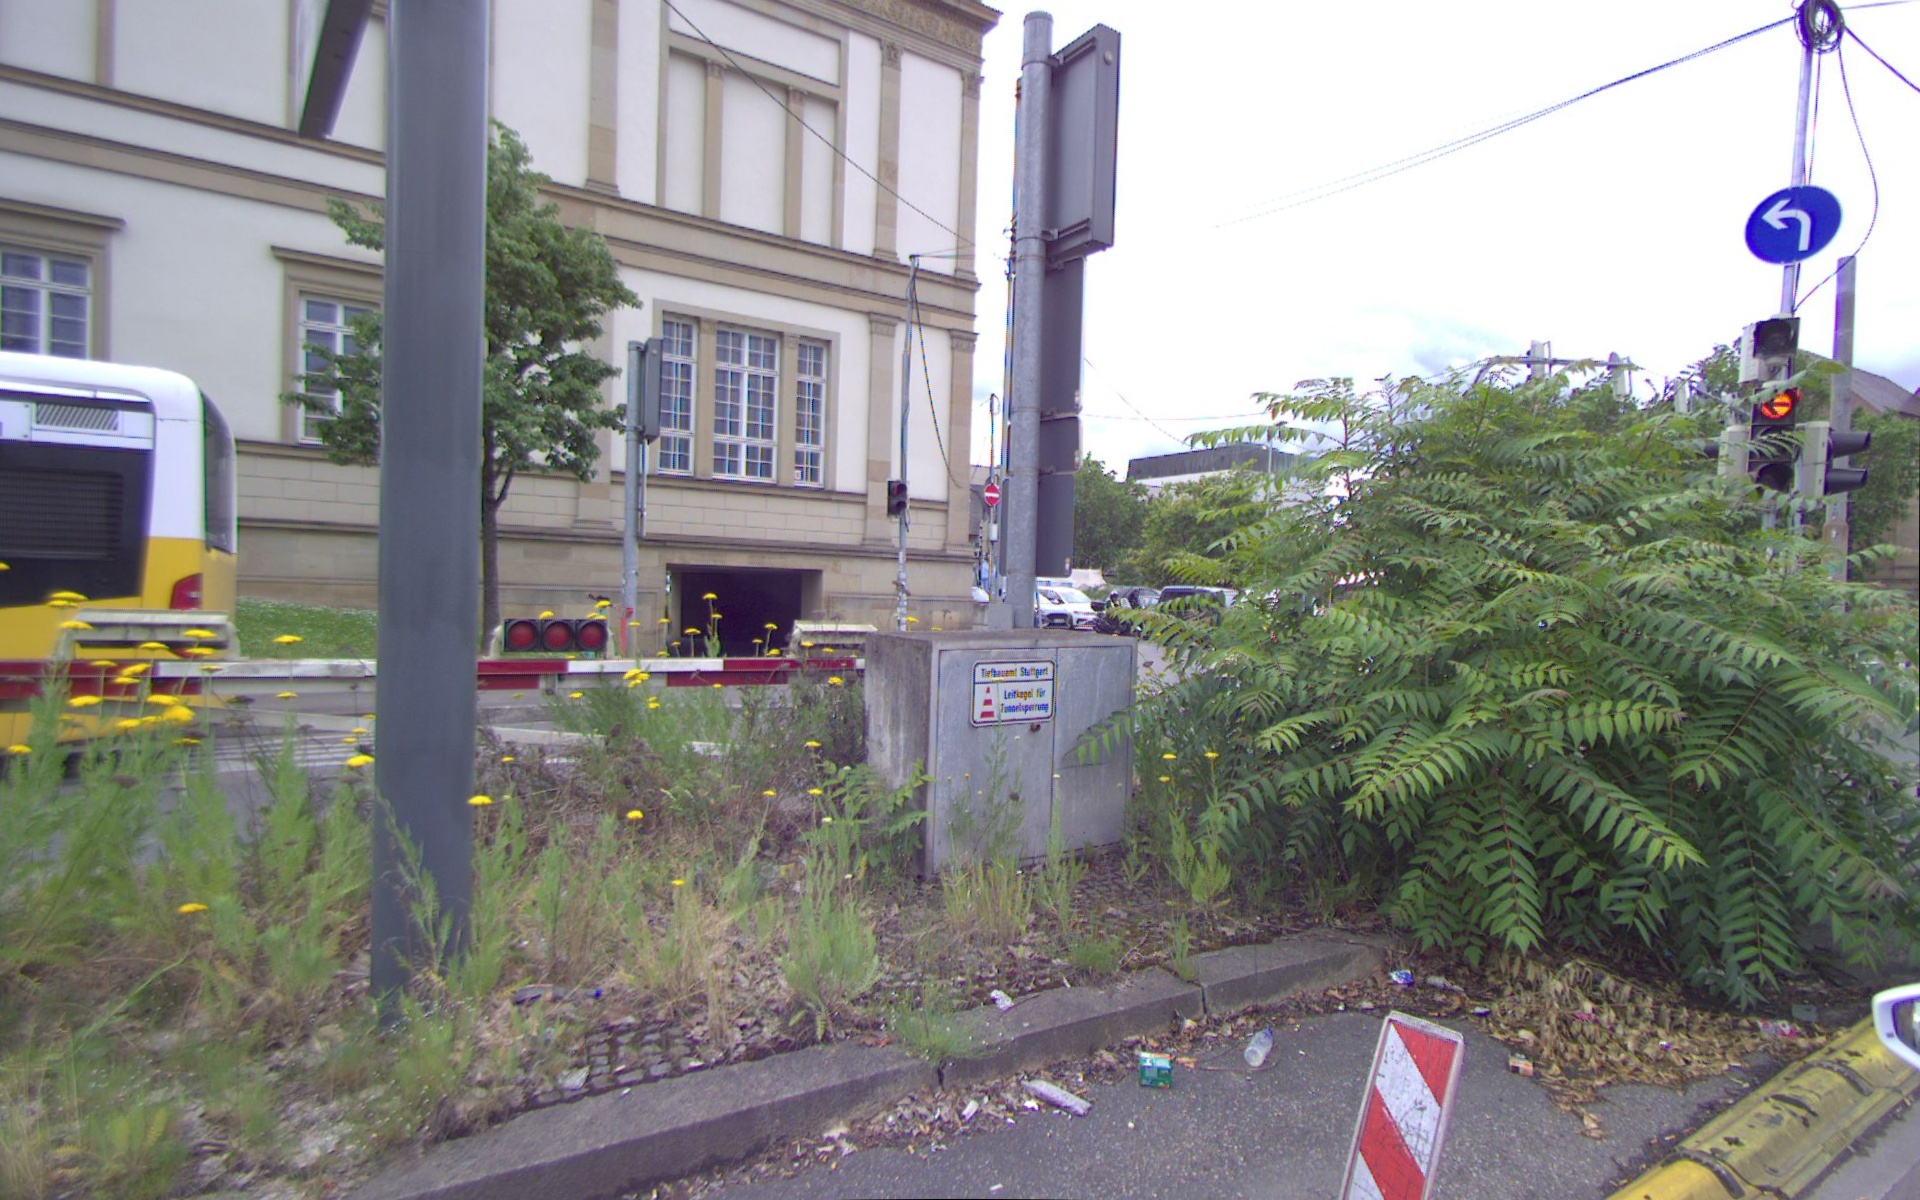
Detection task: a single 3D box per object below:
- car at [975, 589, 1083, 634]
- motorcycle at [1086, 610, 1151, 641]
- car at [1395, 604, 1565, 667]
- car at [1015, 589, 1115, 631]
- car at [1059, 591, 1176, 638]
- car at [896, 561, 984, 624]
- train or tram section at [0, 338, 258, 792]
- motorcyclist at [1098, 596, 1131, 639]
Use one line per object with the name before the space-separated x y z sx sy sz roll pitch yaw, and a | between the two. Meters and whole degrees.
car | 2.529 0.412 37.715 1.978 1.568 4.083 2 0 -32
motorcycle | 5.116 0.806 32.585 0.690 0.953 2.335 2 -1 -32
car | 16.373 1.055 31.763 4.438 1.783 1.990 1 0 41
car | 4.188 0.367 40.779 1.977 1.568 4.085 2 0 -31
car | 5.629 0.495 36.341 1.978 1.568 4.084 2 0 -32
car | -0.937 -0.331 43.892 1.978 2.585 4.083 2 0 -32
train or tram section | -10.170 -0.284 6.272 9.229 3.112 2.680 1 -1 -31
motorcyclist | 5.035 0.568 32.724 0.690 1.398 0.784 2 -1 -33
